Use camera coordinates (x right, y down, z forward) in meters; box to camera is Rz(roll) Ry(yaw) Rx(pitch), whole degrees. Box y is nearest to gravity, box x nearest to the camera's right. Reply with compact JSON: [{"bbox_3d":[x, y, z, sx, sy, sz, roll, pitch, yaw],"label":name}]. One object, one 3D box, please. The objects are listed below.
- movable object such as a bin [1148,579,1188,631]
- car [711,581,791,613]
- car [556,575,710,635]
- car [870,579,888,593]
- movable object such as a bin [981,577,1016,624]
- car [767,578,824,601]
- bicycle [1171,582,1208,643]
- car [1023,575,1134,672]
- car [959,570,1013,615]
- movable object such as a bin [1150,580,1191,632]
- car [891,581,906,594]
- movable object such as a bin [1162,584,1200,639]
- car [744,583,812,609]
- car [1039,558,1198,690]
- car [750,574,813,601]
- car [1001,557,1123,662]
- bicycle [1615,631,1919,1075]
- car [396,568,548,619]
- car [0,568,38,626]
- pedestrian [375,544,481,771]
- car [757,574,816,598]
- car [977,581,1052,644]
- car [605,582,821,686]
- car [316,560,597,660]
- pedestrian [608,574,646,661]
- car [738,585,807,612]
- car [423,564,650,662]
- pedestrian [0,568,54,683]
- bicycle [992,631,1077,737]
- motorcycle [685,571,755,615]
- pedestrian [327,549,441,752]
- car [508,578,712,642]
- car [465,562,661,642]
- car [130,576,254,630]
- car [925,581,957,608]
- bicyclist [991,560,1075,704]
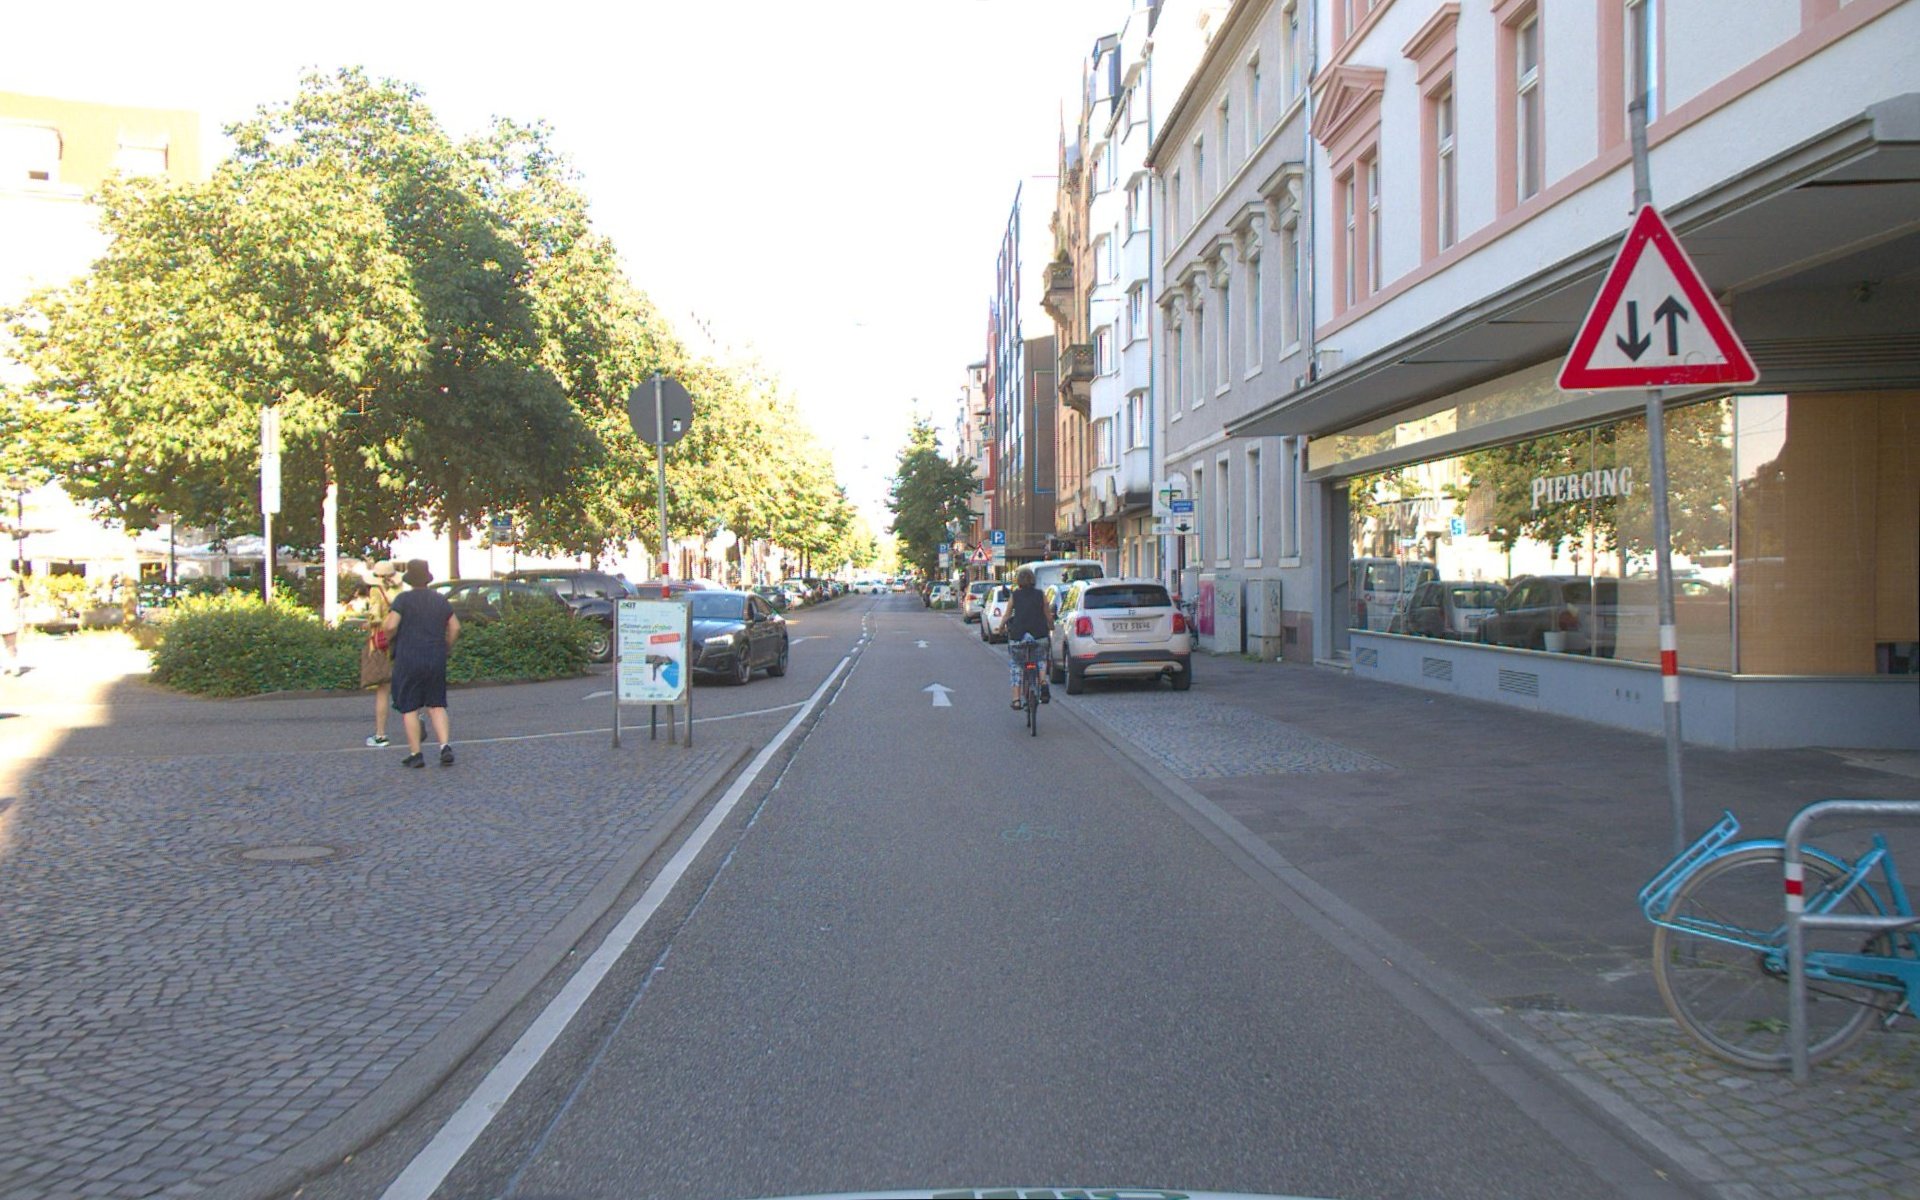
[{"bbox_3d":[4.760,0.118,37.874,0.821,1.157,0.699,-1,0,1],"label":"movable object such as a bin"},{"bbox_3d":[-10.843,-0.160,86.026,3.906,1.534,1.999,1,0,-2],"label":"car"},{"bbox_3d":[-9.349,0.157,47.384,3.949,1.614,1.810,1,0,-33],"label":"car"},{"bbox_3d":[-9.462,-1.597,192.758,1.953,1.583,3.999,1,0,-2],"label":"car"},{"bbox_3d":[1.293,0.005,54.944,1.051,1.482,1.493,-3,1,3],"label":"movable object such as a bin"},{"bbox_3d":[-11.867,-0.756,119.407,3.907,1.534,1.999,1,0,-2],"label":"car"},{"bbox_3d":[4.703,0.256,33.836,0.473,1.206,1.721,-3,-1,16],"label":"bicycle"},{"bbox_3d":[2.087,0.408,30.002,1.665,1.632,3.755,0,0,-1],"label":"car"},{"bbox_3d":[0.990,-0.270,65.640,1.861,1.704,4.822,1,0,-2],"label":"car"},{"bbox_3d":[4.720,0.135,37.167,0.778,1.095,0.660,-3,0,0],"label":"movable object such as a bin"},{"bbox_3d":[-7.626,-1.564,204.768,1.832,1.583,3.999,1,0,-2],"label":"car"},{"bbox_3d":[4.792,0.252,35.893,0.753,1.181,0.578,1,0,0],"label":"movable object such as a bin"},{"bbox_3d":[-11.104,-0.245,101.084,3.906,1.534,1.999,1,0,-2],"label":"car"},{"bbox_3d":[2.264,0.333,24.881,1.710,1.769,4.958,1,0,-2],"label":"car"},{"bbox_3d":[-11.687,-0.830,108.581,3.906,1.703,2.088,1,0,-2],"label":"car"},{"bbox_3d":[2.050,0.137,34.770,1.954,2.039,5.114,0,1,-4],"label":"car"},{"bbox_3d":[2.912,0.750,5.120,1.587,1.265,0.659,1,0,18],"label":"bicycle"},{"bbox_3d":[-18.483,-0.225,62.753,5.205,1.831,2.143,1,0,-29],"label":"car"},{"bbox_3d":[-36.097,-0.136,59.017,5.514,2.049,1.800,1,0,-29],"label":"car"},{"bbox_3d":[-4.146,0.432,12.874,0.629,1.701,0.685,1,-1,-31],"label":"pedestrian"},{"bbox_3d":[-11.998,-0.975,114.777,3.906,1.534,1.894,1,0,-2],"label":"car"},{"bbox_3d":[1.423,0.323,44.316,1.684,1.541,3.581,-2,0,-3],"label":"car"},{"bbox_3d":[-3.739,0.500,26.017,1.870,1.441,4.814,1,0,10],"label":"car"},{"bbox_3d":[-8.083,0.174,26.692,3.957,1.495,1.850,1,0,-37],"label":"car"},{"bbox_3d":[-6.571,0.340,32.648,0.686,1.678,0.645,1,-1,-9],"label":"pedestrian"},{"bbox_3d":[-11.183,-0.115,98.977,3.906,1.534,1.999,1,0,-2],"label":"car"},{"bbox_3d":[-7.826,0.236,30.516,3.925,1.697,1.990,1,1,-18],"label":"car"},{"bbox_3d":[-13.060,0.346,22.766,0.942,1.548,0.765,0,-1,43],"label":"pedestrian"},{"bbox_3d":[0.751,0.843,17.416,0.639,0.975,2.696,1,0,-3],"label":"bicycle"},{"bbox_3d":[-9.091,-0.264,62.692,2.419,1.632,1.000,-1,0,16],"label":"motorcycle"},{"bbox_3d":[-5.094,0.429,14.626,0.665,1.729,0.792,1,-1,-44],"label":"pedestrian"},{"bbox_3d":[-8.824,0.273,41.755,4.771,1.514,1.752,1,0,-24],"label":"car"},{"bbox_3d":[-8.620,0.050,36.164,3.910,1.626,1.748,1,0,-6],"label":"car"},{"bbox_3d":[-26.952,0.108,58.151,3.857,1.802,1.965,1,0,-25],"label":"car"},{"bbox_3d":[-1.218,-0.319,106.689,1.953,1.646,4.010,1,0,0],"label":"car"},{"bbox_3d":[0.764,0.333,17.639,0.770,1.478,1.095,1,0,-3],"label":"bicyclist"}]
